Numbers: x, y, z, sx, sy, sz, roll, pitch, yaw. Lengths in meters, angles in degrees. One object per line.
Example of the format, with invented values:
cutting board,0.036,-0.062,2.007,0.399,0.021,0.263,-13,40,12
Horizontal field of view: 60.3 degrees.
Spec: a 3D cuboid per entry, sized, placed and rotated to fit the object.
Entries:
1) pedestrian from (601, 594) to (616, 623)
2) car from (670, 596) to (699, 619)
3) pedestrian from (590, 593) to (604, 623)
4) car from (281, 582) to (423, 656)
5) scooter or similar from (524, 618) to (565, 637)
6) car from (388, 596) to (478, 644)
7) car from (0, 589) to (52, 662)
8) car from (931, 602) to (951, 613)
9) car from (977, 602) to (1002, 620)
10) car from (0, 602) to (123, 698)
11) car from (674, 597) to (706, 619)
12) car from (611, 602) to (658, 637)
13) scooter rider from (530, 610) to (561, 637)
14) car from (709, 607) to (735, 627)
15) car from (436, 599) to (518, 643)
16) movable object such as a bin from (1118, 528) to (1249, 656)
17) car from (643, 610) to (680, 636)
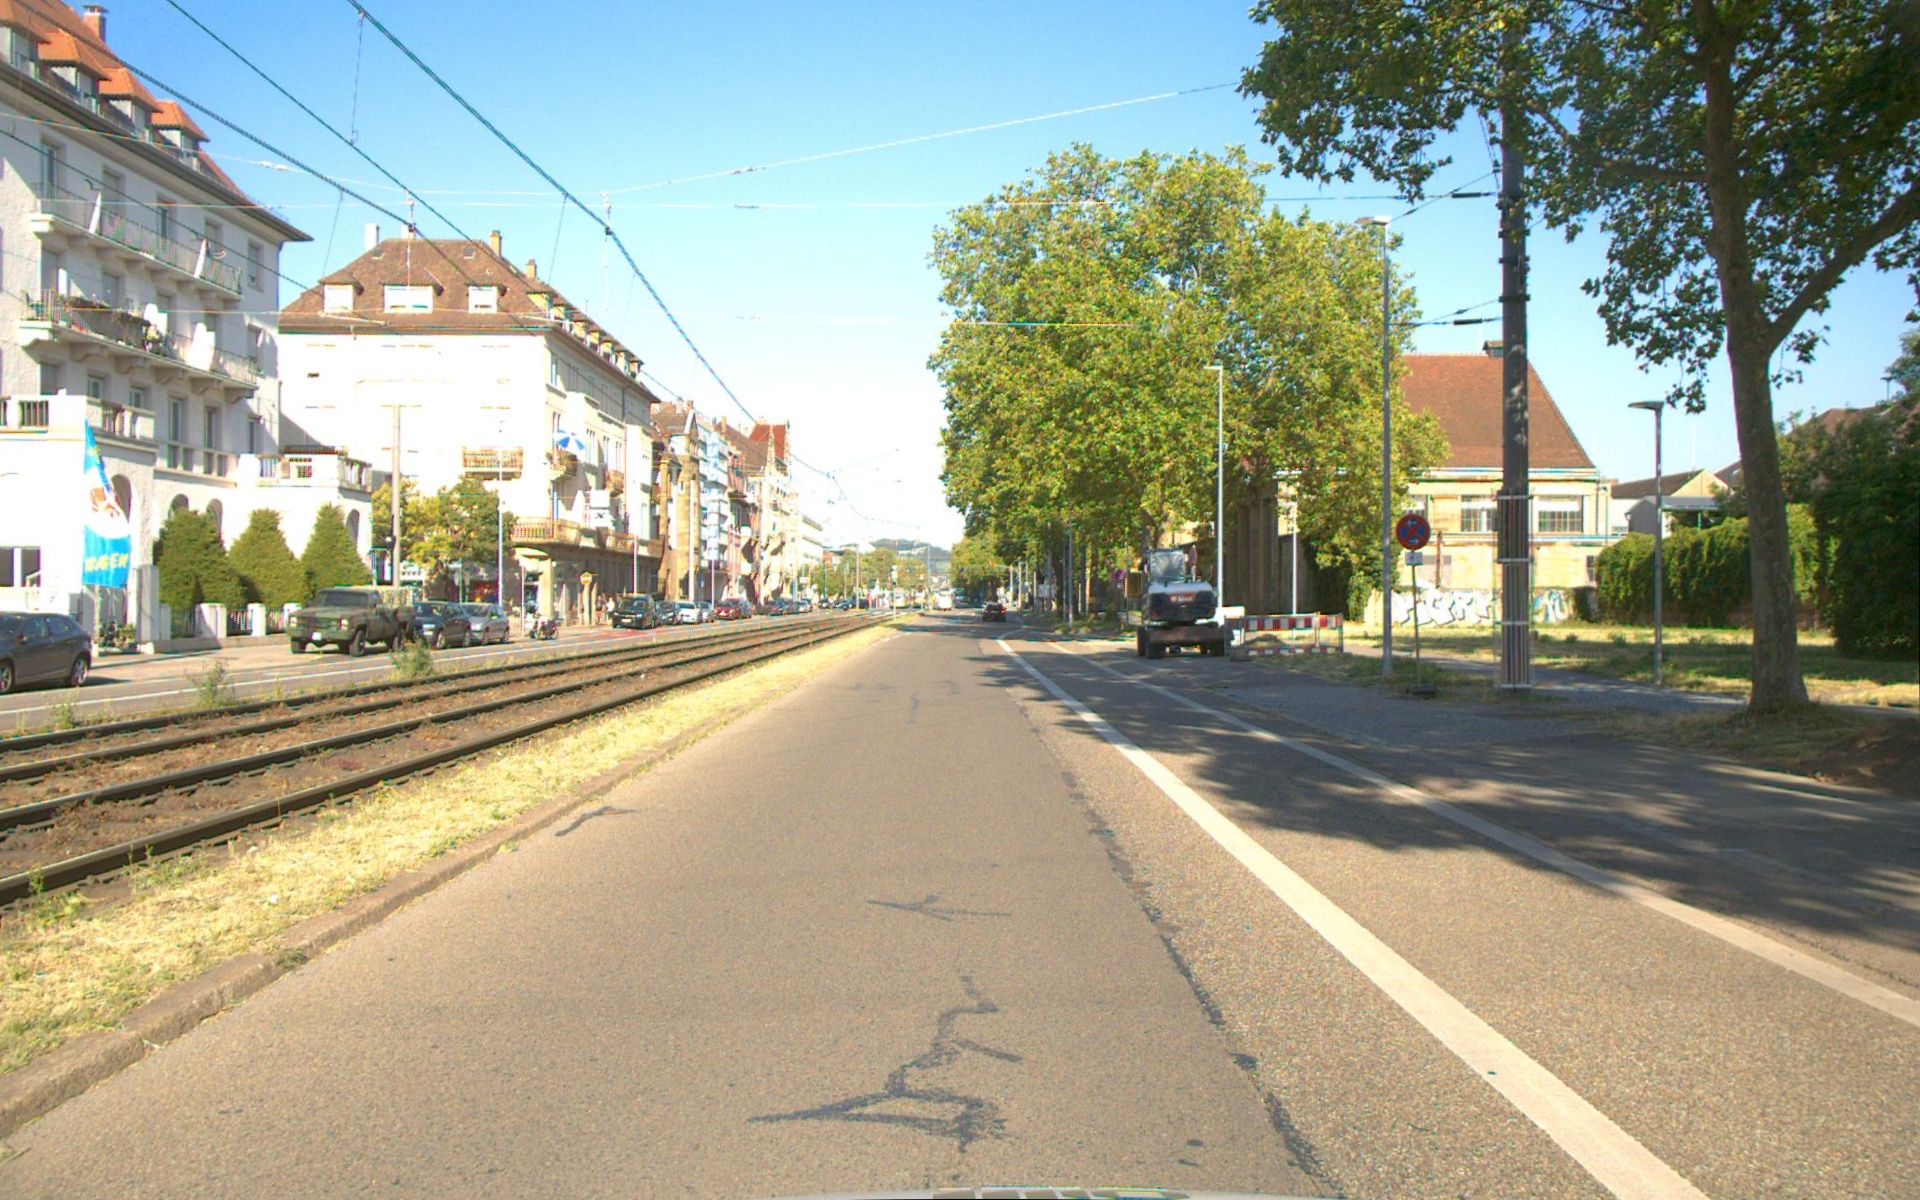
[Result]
pedestrian,-20.735,0.504,97.573,0.577,1.726,0.857,2,-1,1
car,-18.270,0.475,109.763,1.603,1.494,3.978,1,0,-6
pedestrian,-21.426,0.481,97.598,0.577,1.726,0.857,2,-1,1
car,-18.255,0.545,50.003,2.034,2.045,5.592,2,0,1
scooter or similar,-17.292,1.134,68.852,1.536,0.784,0.806,-1,0,31
car,-17.844,0.691,56.168,1.601,1.534,4.159,1,-1,2
car,-24.260,0.599,39.610,4.040,1.661,1.953,0,2,9
car,-2.629,1.062,229.606,1.764,1.537,3.985,2,-1,-14
car,2.350,0.842,132.585,1.796,1.415,4.158,1,0,-1
car,-17.699,0.882,30.694,1.882,1.486,4.840,5,0,-2
car,-19.394,0.539,118.804,1.602,1.494,4.159,1,0,0
car,-18.295,1.064,93.058,1.825,1.817,4.400,2,0,-1
scooter rider,-17.257,0.962,68.834,0.958,1.108,0.806,-1,0,31
car,-18.796,1.350,130.775,1.798,1.415,4.031,3,0,-5
car,-17.954,0.766,61.648,1.757,1.537,4.000,2,-1,1
movable object such as a bin,6.226,-0.227,47.131,2.688,3.200,7.219,-3,0,1
car,-18.728,1.405,103.910,1.602,1.494,4.158,3,0,-1
